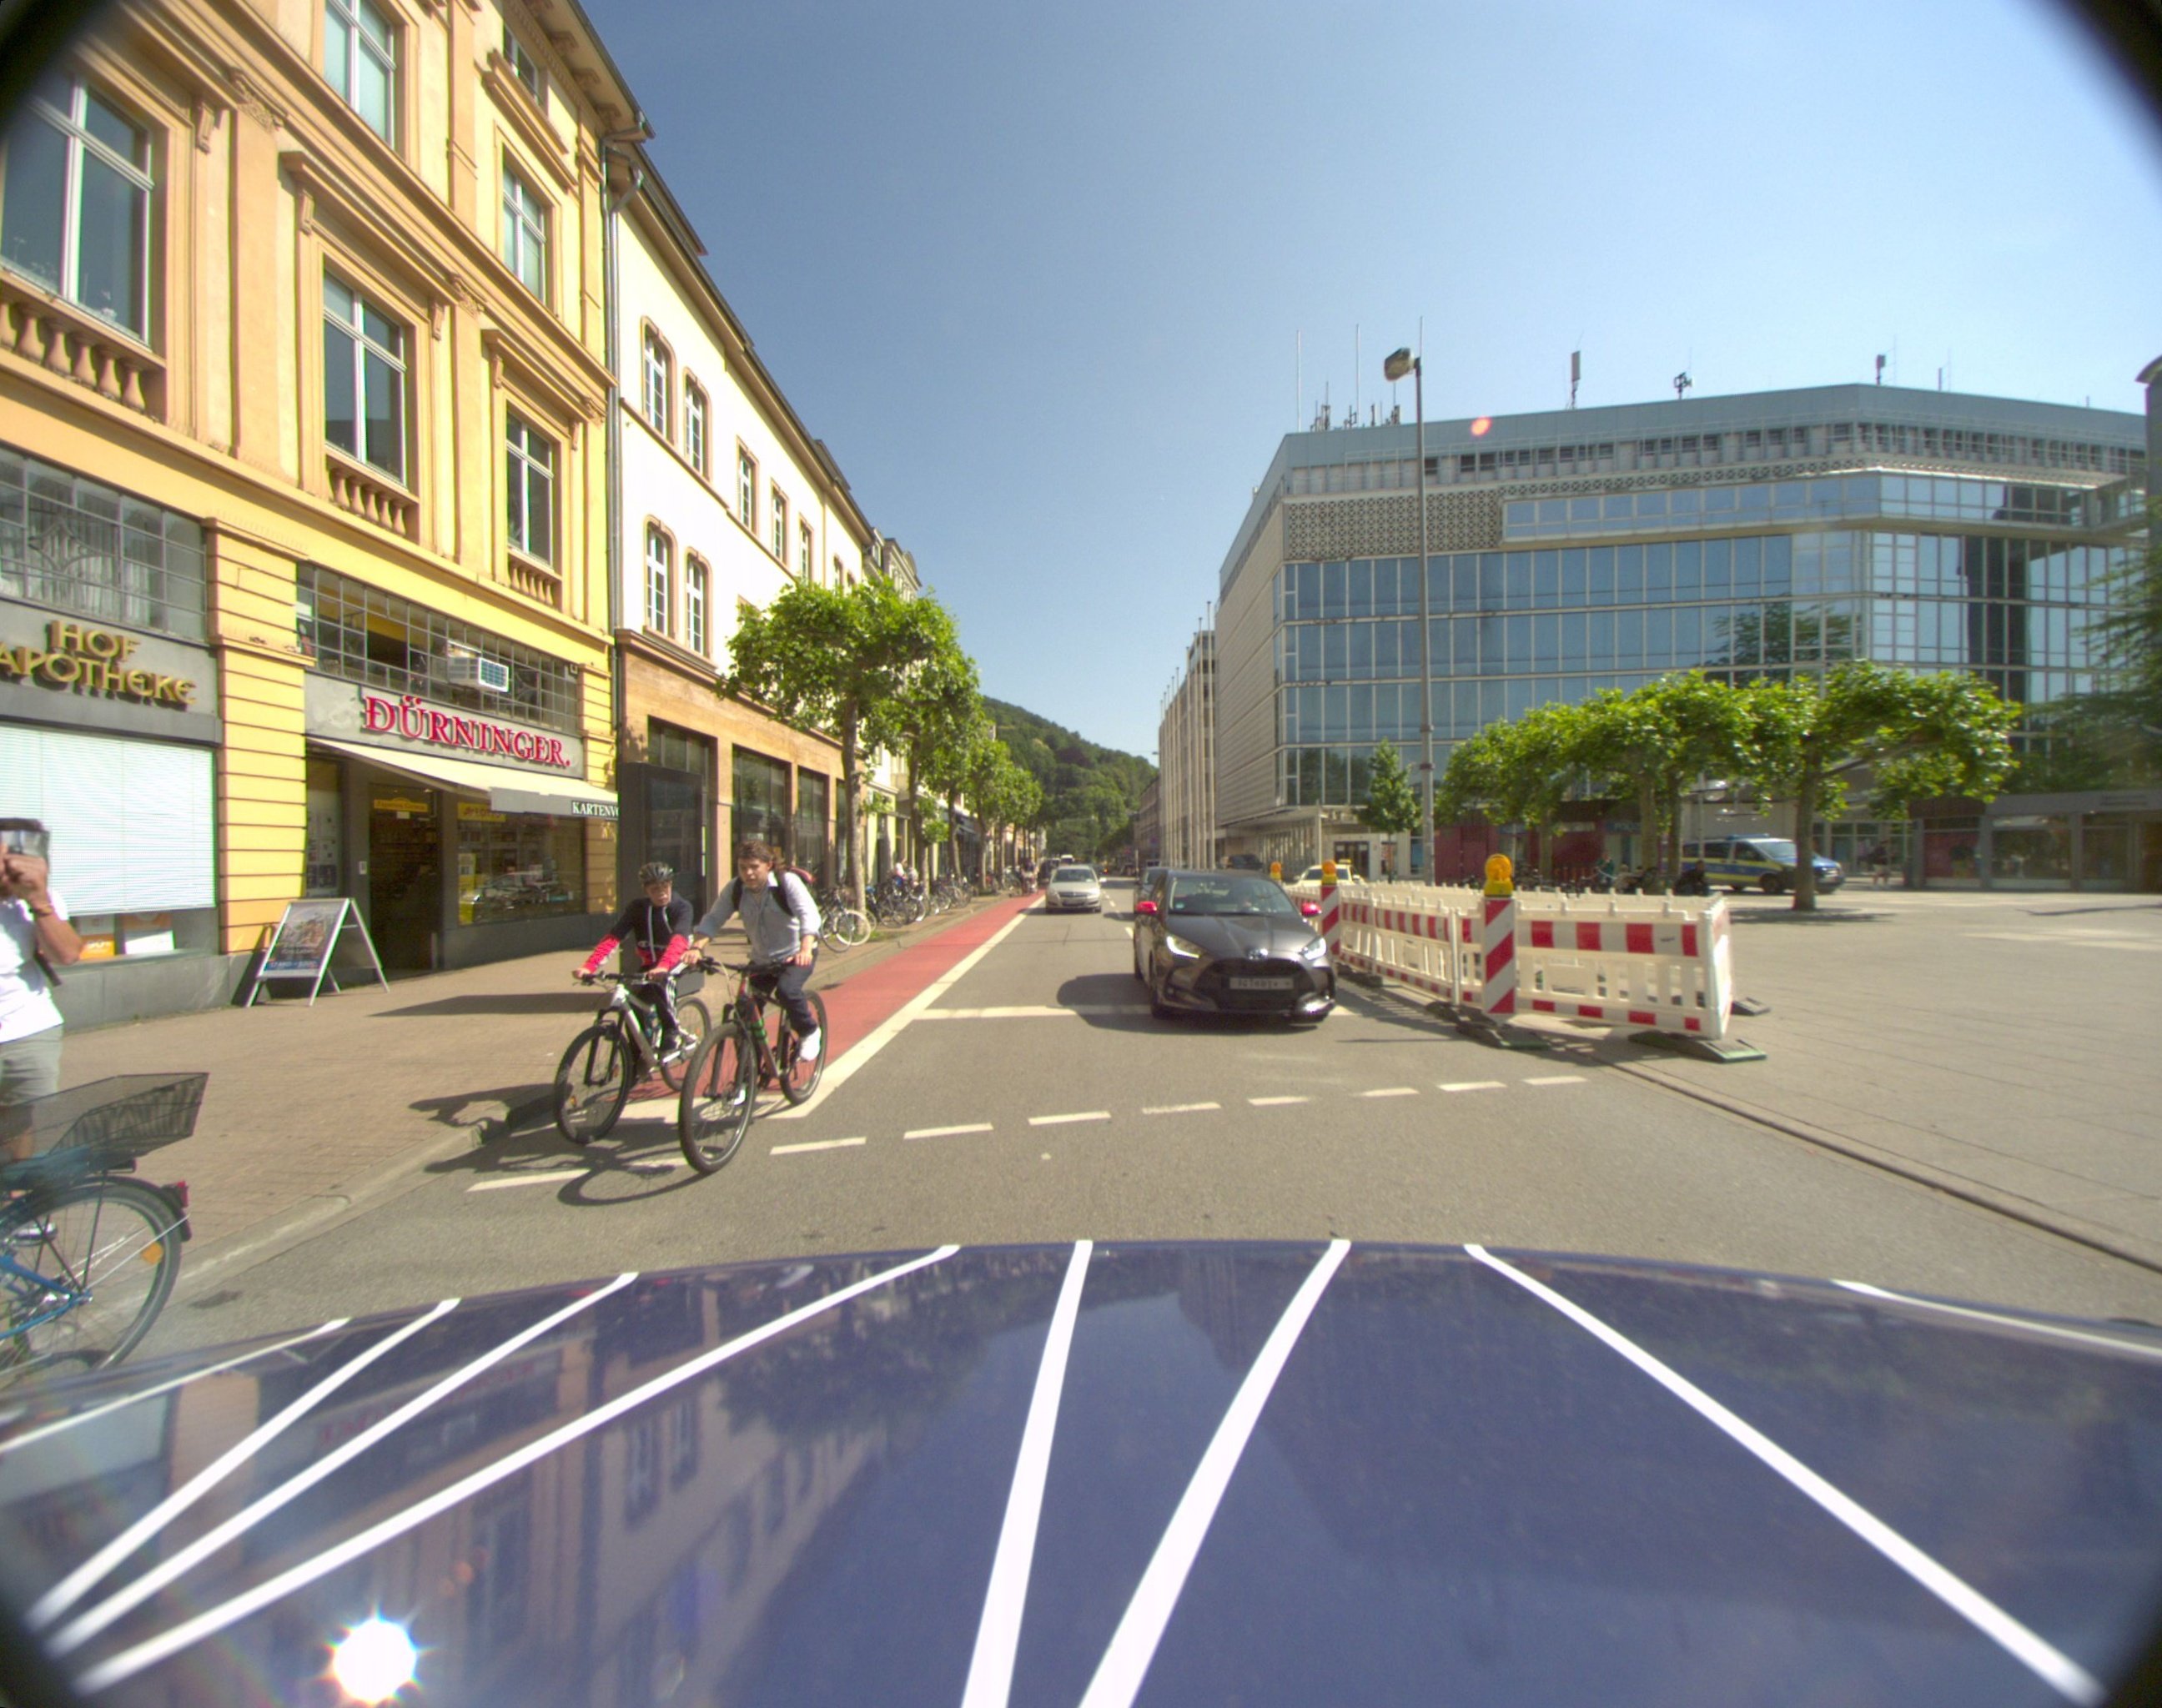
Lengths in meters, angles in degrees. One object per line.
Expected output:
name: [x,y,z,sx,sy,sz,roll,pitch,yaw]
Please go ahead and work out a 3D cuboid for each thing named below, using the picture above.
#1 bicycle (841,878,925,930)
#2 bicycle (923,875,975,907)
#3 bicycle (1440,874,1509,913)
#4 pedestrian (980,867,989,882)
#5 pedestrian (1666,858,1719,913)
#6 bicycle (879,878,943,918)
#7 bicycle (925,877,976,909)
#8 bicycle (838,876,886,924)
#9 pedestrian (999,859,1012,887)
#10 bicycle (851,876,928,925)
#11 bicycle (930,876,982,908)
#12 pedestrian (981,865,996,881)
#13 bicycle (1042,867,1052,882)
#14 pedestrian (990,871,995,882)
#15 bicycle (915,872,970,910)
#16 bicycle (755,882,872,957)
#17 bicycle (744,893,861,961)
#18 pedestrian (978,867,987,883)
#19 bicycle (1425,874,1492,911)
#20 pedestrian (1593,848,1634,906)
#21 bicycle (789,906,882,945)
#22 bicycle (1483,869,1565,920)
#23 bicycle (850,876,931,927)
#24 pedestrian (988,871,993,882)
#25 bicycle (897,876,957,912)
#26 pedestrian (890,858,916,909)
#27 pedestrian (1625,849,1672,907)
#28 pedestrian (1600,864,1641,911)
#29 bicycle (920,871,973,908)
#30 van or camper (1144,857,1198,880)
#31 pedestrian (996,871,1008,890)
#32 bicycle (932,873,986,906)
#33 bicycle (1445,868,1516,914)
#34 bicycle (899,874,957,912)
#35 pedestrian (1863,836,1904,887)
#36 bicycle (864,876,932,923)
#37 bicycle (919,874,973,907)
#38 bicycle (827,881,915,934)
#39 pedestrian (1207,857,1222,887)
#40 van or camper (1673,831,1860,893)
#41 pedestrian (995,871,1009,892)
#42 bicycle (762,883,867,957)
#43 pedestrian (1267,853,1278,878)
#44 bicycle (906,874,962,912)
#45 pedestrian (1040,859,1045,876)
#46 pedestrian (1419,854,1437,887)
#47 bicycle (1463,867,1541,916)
bicycle: [-4.755,1.199,18.316,1.848,1.194,0.608,-1,0,3]
bicycle: [-4.635,1.294,26.768,1.732,1.102,0.402,-1,0,3]
bicycle: [11.850,1.181,22.882,1.786,1.125,0.562,-1,0,-2]
pedestrian: [-8.384,1.785,65.981,0.683,1.330,0.532,0,0,-2]
pedestrian: [15.607,0.786,19.417,0.672,1.373,0.898,-1,0,9]
bicycle: [-4.805,1.233,21.564,1.653,1.088,0.607,-1,0,3]
bicycle: [-4.654,1.376,27.183,1.732,1.102,0.402,-1,0,3]
bicycle: [-5.816,1.204,20.247,0.473,1.181,1.656,-1,0,12]
pedestrian: [-4.609,1.154,46.309,0.641,1.679,0.843,-2,-1,-2]
bicycle: [-4.945,1.196,19.630,1.848,1.194,0.474,-1,0,3]
bicycle: [-4.596,1.392,28.034,1.732,1.102,0.736,-1,0,3]
pedestrian: [-8.513,1.748,70.166,1.255,1.475,0.837,-1,0,-2]
bicycle: [-2.561,1.528,57.166,0.607,1.120,1.860,1,-1,2]
pedestrian: [-7.776,1.985,67.000,0.365,0.962,0.437,-1,0,2]
bicycle: [-4.593,1.231,25.262,1.732,1.210,0.477,-1,0,3]
bicycle: [-4.855,1.162,13.872,1.940,1.250,0.704,-1,0,-19]
bicycle: [-4.750,1.235,13.021,1.786,1.116,0.562,0,0,-2]
pedestrian: [-8.469,1.787,65.384,0.683,1.325,0.532,-1,0,-2]
bicycle: [11.702,1.189,23.572,1.786,1.099,0.562,-1,0,-2]
pedestrian: [15.641,0.667,22.325,0.673,1.667,0.687,-1,0,-8]
bicycle: [-5.298,1.520,16.408,1.851,0.711,0.658,-1,0,-20]
bicycle: [11.694,1.055,20.091,1.786,1.301,0.663,-1,0,-2]
bicycle: [-4.714,1.168,18.821,1.848,1.194,0.545,-1,0,3]
pedestrian: [-7.883,1.966,66.334,0.342,0.962,0.437,-1,0,2]
bicycle: [-4.819,1.241,23.777,1.732,1.088,0.607,-1,0,3]
pedestrian: [-5.763,0.952,24.665,0.616,1.603,0.745,-1,0,2]
pedestrian: [16.209,0.676,21.714,0.806,1.596,0.672,-1,0,-13]
pedestrian: [15.496,0.953,21.827,0.673,1.301,0.686,-1,0,-17]
bicycle: [-4.594,1.213,25.987,1.732,1.210,0.477,-1,0,3]
van or camper: [8.364,1.379,70.900,4.648,2.001,2.004,-3,-1,40]
pedestrian: [-5.056,1.690,48.644,0.641,1.226,0.597,-1,1,-2]
bicycle: [-4.718,1.362,29.517,1.936,1.241,0.736,-1,0,3]
bicycle: [11.731,1.088,22.312,1.786,1.301,0.562,-1,0,-2]
bicycle: [-4.898,1.246,24.288,1.732,1.155,0.477,-1,0,3]
pedestrian: [28.004,0.271,26.522,0.803,1.739,0.606,-2,1,-5]
bicycle: [-4.813,1.193,20.042,1.653,1.194,0.474,-1,0,3]
bicycle: [-4.674,1.265,26.349,1.732,1.102,0.477,-1,0,3]
bicycle: [-4.879,1.234,17.686,1.848,1.157,0.659,-1,0,3]
pedestrian: [8.198,1.098,46.545,0.618,1.782,0.695,-1,0,40]
van or camper: [23.327,0.254,26.198,1.877,1.907,5.024,-1,0,-1]
pedestrian: [-4.992,1.742,48.005,0.789,1.236,0.576,-1,1,-2]
bicycle: [-5.070,1.225,14.503,1.828,1.301,0.688,-1,0,-19]
pedestrian: [12.629,0.751,50.031,0.581,1.607,0.543,0,0,-1]
bicycle: [-4.783,1.260,24.773,1.732,1.210,0.477,-1,0,3]
pedestrian: [-4.048,1.480,80.741,0.453,1.784,0.608,-2,-1,-2]
pedestrian: [18.445,0.862,40.390,0.684,1.705,0.723,0,0,10]
bicycle: [11.633,1.030,21.024,1.786,1.301,0.663,-1,0,-2]
